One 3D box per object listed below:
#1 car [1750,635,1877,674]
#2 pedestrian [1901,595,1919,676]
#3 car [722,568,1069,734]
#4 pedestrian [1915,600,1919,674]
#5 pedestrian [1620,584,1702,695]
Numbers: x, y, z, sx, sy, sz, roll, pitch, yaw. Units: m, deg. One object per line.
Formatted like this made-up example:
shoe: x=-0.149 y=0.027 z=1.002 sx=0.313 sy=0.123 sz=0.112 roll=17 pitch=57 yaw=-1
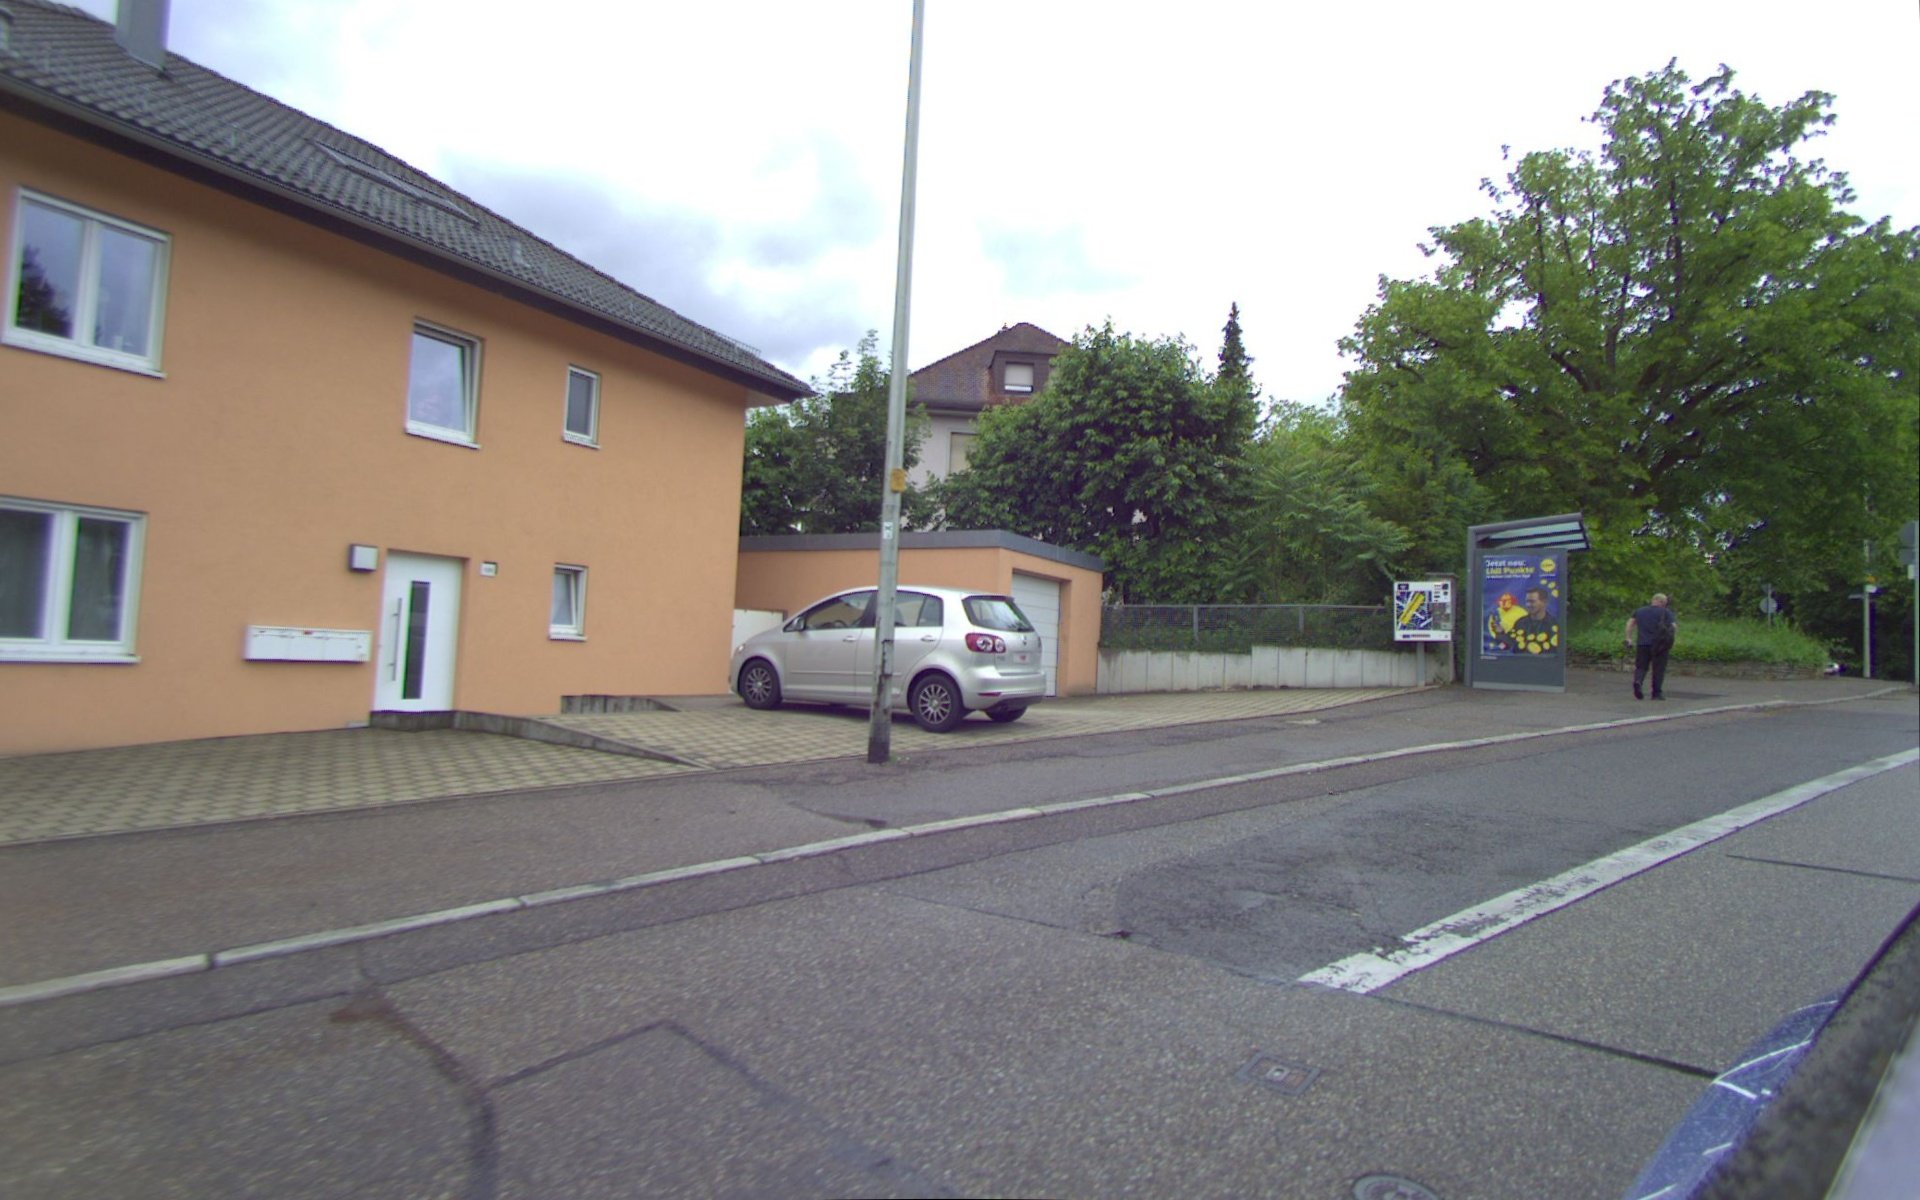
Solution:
car: x=34.520 y=2.177 z=41.108 sx=1.832 sy=1.433 sz=4.375 roll=1 pitch=-2 yaw=7
pedestrian: x=21.291 y=0.784 z=22.276 sx=0.804 sy=1.755 sz=0.725 roll=2 pitch=-1 yaw=-37
car: x=-0.818 y=0.503 z=12.110 sx=3.840 sy=1.585 sz=1.708 roll=3 pitch=0 yaw=31
pedestrian: x=22.105 y=0.846 z=22.637 sx=0.804 sy=1.676 sz=0.725 roll=1 pitch=-1 yaw=1
pedestrian: x=11.079 y=0.596 z=15.983 sx=0.925 sy=1.676 sz=1.081 roll=0 pitch=-1 yaw=42
